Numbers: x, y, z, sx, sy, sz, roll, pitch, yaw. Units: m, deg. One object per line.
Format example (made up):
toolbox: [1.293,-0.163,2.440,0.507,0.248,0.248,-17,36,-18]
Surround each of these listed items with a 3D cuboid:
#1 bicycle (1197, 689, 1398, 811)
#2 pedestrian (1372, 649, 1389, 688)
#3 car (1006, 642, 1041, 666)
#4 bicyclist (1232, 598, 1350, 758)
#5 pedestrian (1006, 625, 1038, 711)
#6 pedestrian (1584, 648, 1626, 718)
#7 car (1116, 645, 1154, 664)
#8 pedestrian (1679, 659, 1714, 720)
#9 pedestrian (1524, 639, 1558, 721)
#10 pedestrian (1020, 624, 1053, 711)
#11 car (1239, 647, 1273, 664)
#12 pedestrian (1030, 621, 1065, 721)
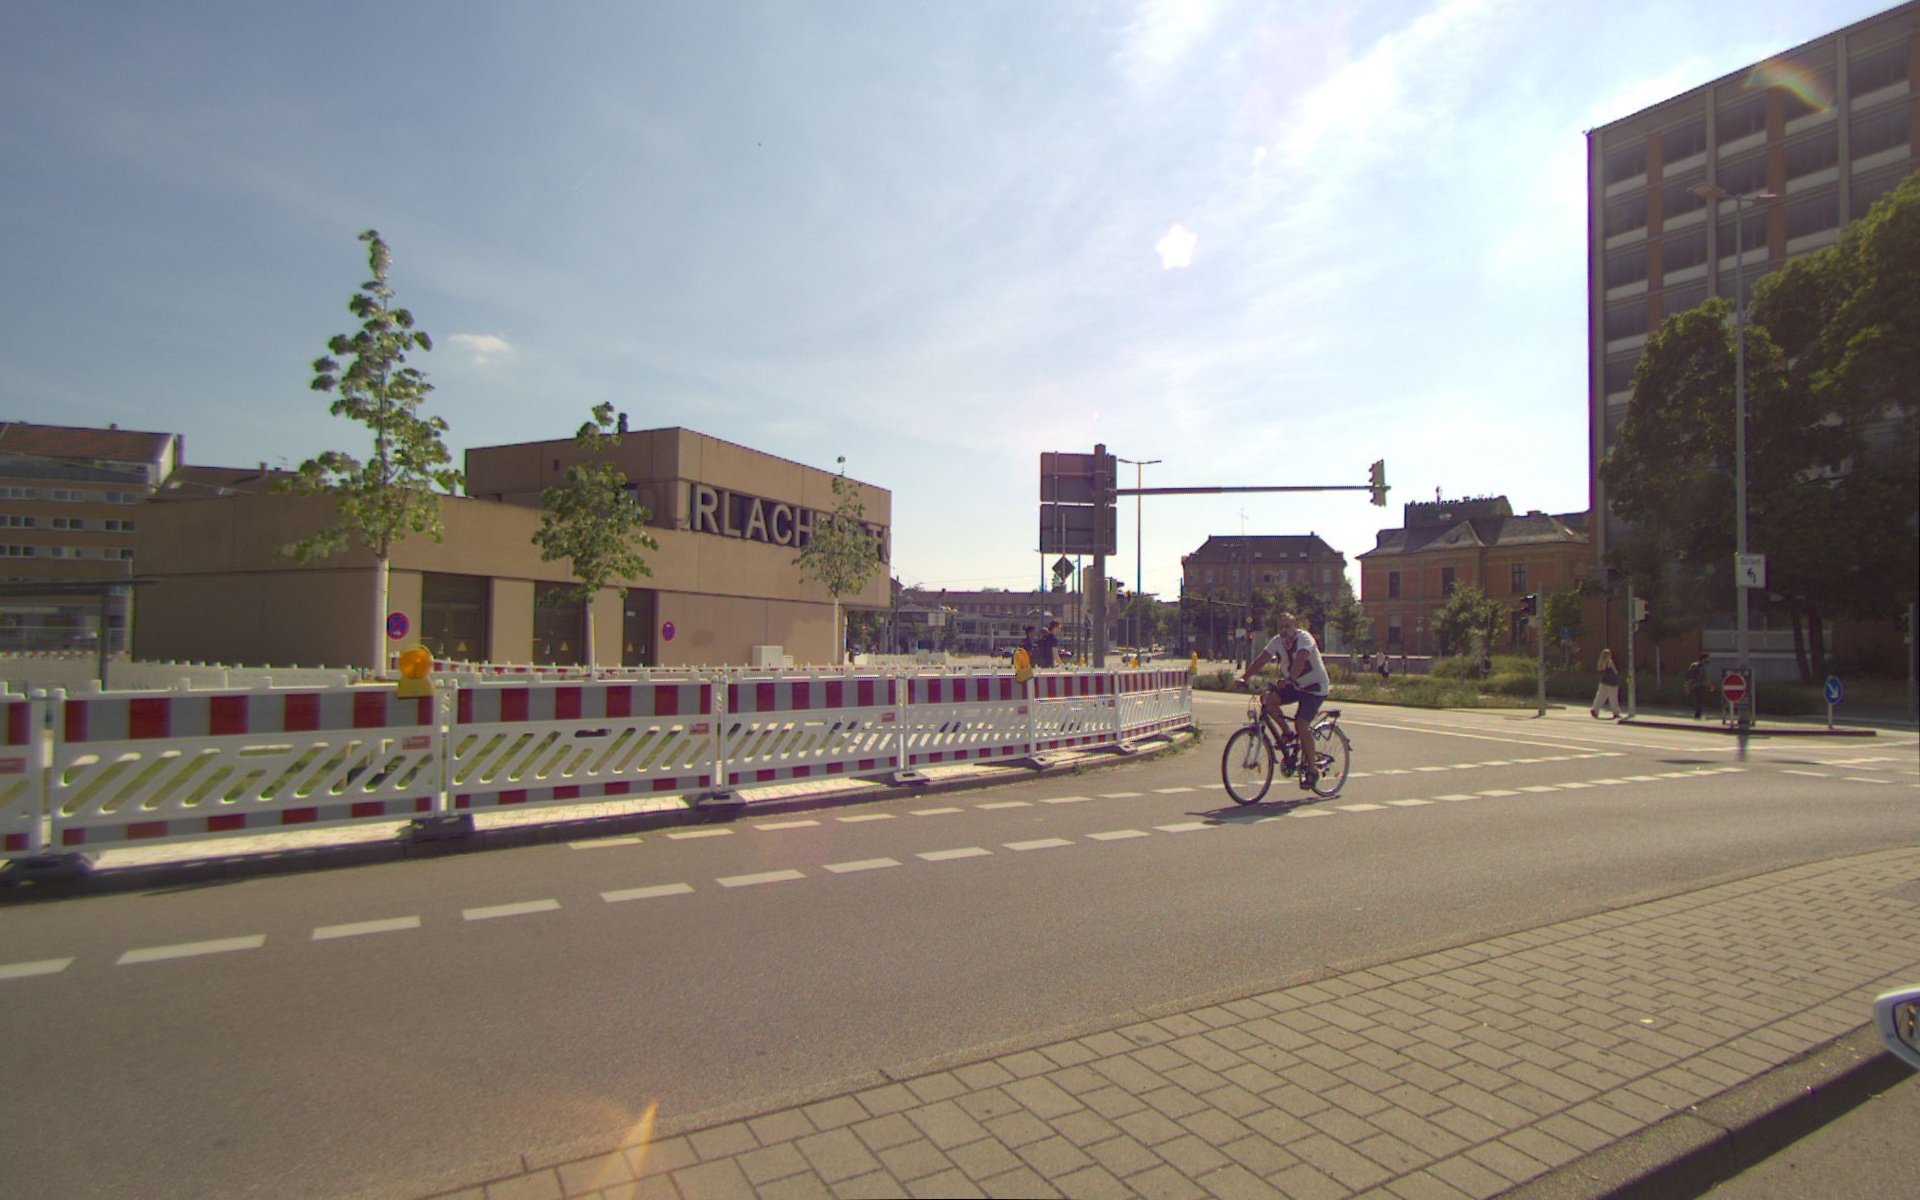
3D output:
bicycle: [3.218,1.367,9.517,2.008,0.990,0.700,2,-3,-32]
pedestrian: [21.898,3.551,52.264,0.517,2.040,0.622,2,-3,-34]
car: [5.585,4.757,88.353,1.961,2.040,4.000,-1,-3,21]
bicyclist: [3.137,0.733,9.512,1.019,1.435,0.536,3,-4,-32]
pedestrian: [1.303,1.428,21.183,0.559,1.801,0.544,1,-2,-9]
pedestrian: [16.967,2.176,26.416,0.728,1.775,1.104,-2,-5,44]
car: [19.848,6.188,113.756,3.953,2.040,1.984,2,-3,-30]
pedestrian: [18.656,2.261,25.448,0.624,1.511,0.613,-2,-3,44]
pedestrian: [14.926,2.043,25.816,0.604,2.040,0.687,2,-1,23]
pedestrian: [1.546,1.363,20.414,0.559,1.731,0.539,1,-2,-9]
car: [37.278,6.957,126.340,3.953,2.040,1.984,2,-3,-30]
pedestrian: [1.715,1.390,19.723,0.595,1.940,0.441,1,-2,-9]
